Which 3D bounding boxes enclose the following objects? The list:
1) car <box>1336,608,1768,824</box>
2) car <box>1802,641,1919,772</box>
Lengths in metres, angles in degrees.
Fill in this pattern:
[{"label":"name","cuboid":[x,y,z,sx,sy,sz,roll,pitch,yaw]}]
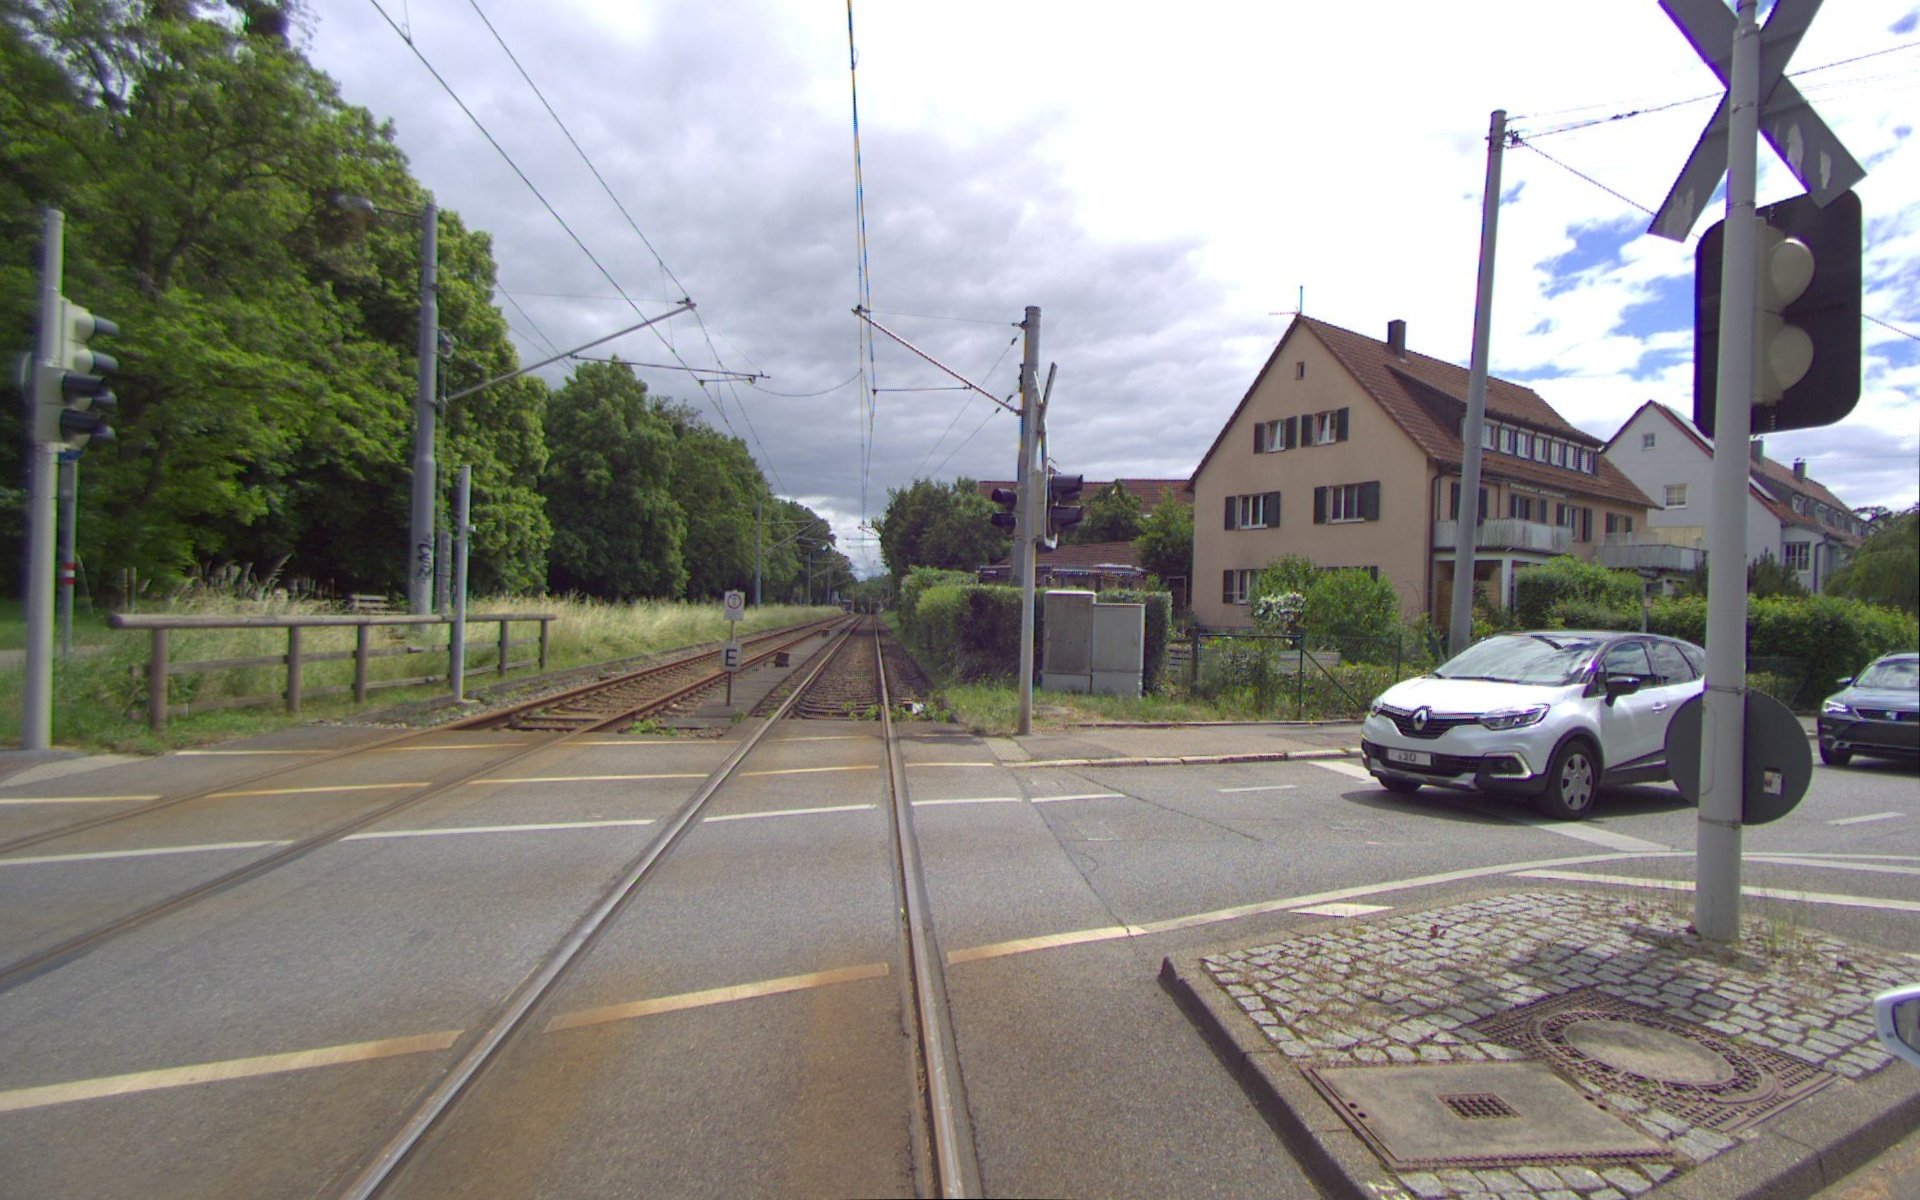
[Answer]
[{"label":"car","cuboid":[5.577,0.991,9.370,3.992,1.624,1.767,3,-3,-30]},{"label":"car","cuboid":[13.552,1.462,13.918,3.995,1.624,1.765,4,-3,-32]}]
